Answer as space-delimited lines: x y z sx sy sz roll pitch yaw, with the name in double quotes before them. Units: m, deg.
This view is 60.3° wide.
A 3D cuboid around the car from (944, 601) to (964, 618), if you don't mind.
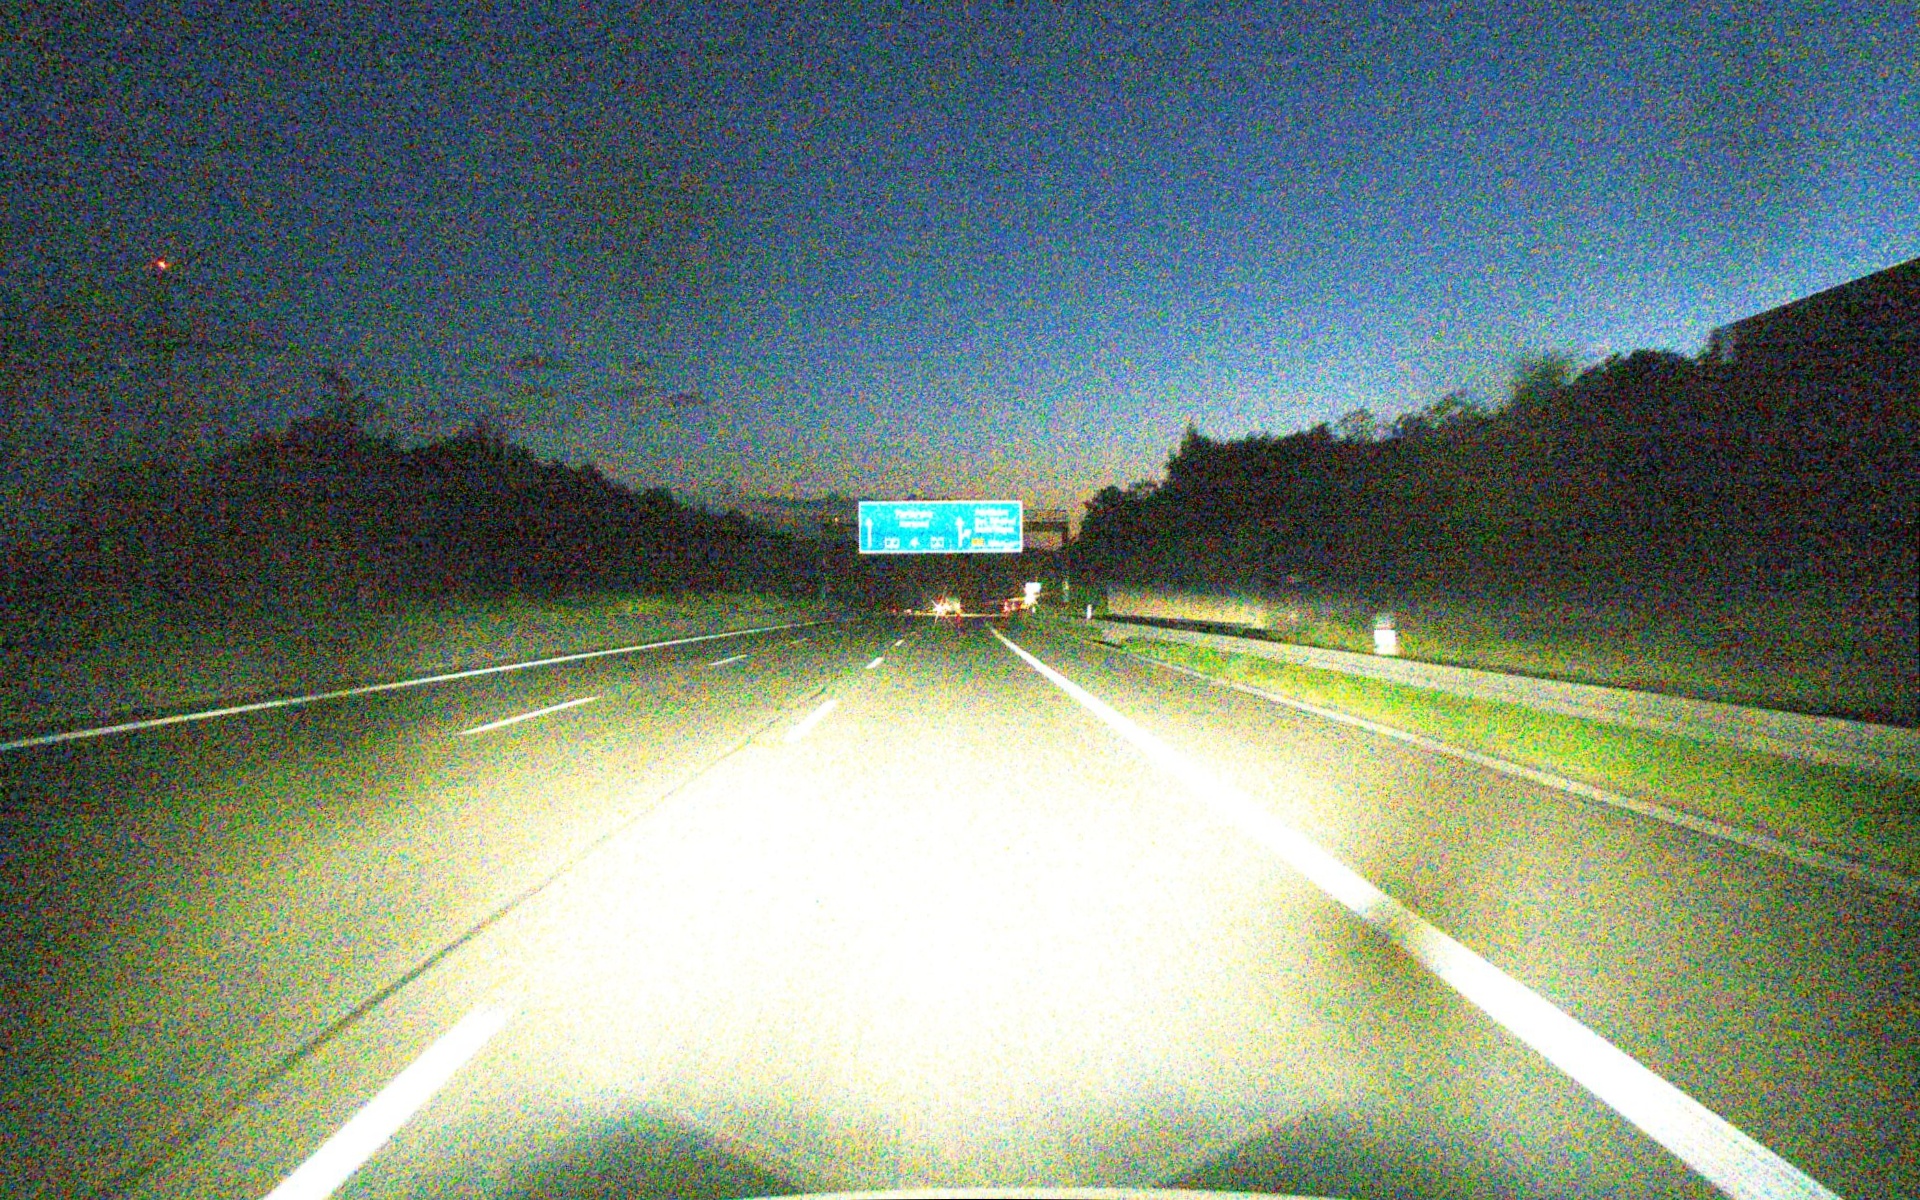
"car" -0.807 1.299 229.807 2.458 2.354 4.972 0 -1 3
